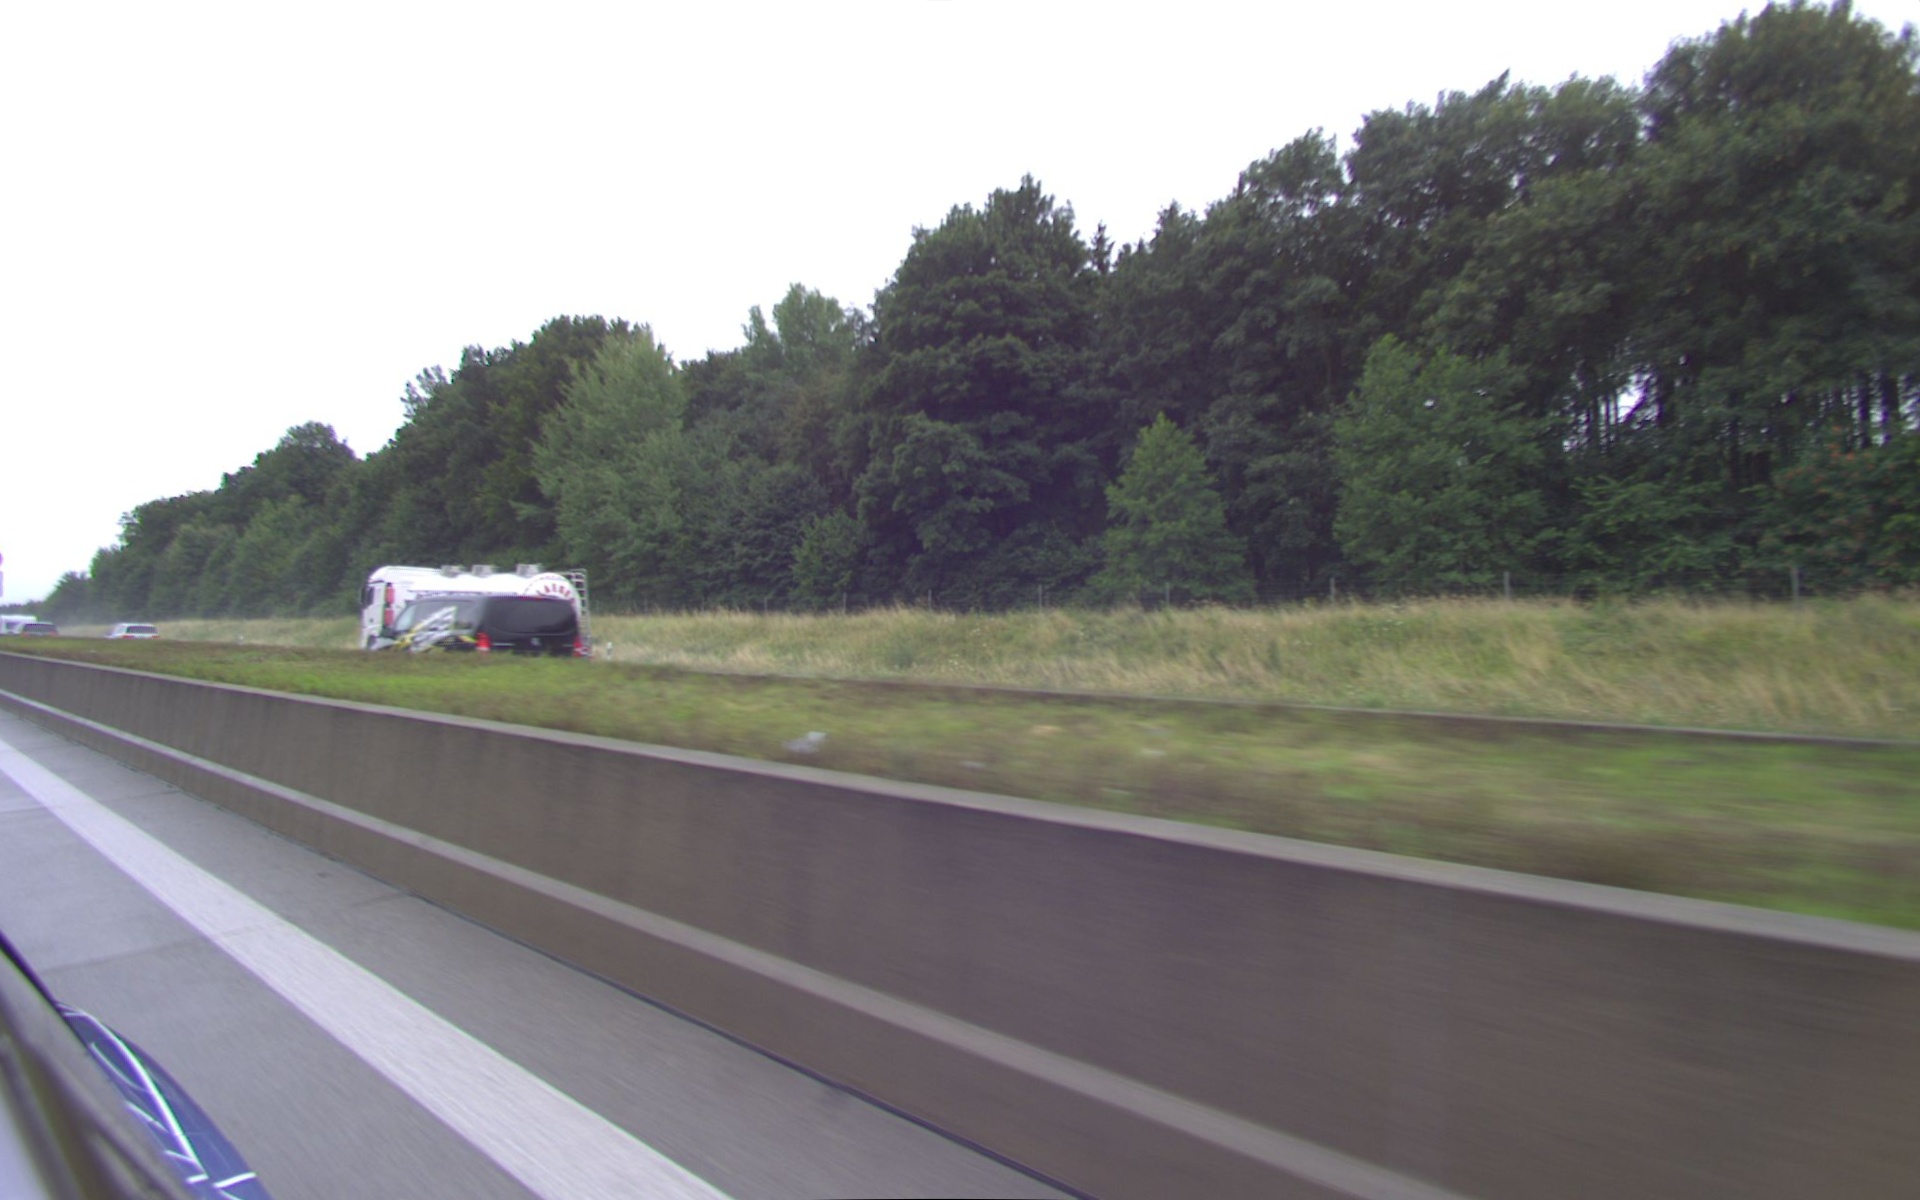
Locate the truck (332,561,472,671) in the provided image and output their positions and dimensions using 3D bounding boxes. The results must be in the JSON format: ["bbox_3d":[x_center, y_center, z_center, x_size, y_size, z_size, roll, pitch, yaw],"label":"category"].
[{"bbox_3d":[-21.725,0.648,39.265,6.431,3.905,2.637,-1,-2,41],"label":"truck"}]

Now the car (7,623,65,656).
[{"bbox_3d":[-50.413,2.149,55.211,4.557,1.700,1.765,-2,-3,41],"label":"car"}]

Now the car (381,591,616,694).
[{"bbox_3d":[-8.101,0.701,17.589,4.557,1.555,1.973,-1,-2,41],"label":"car"}]

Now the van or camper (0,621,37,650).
[{"bbox_3d":[-81.155,3.011,86.590,5.915,2.447,2.475,-1,-2,41],"label":"van or camper"}]

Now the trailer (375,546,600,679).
[{"bbox_3d":[-16.575,0.520,34.897,11.128,4.002,2.637,-2,-2,40],"label":"trailer"}]

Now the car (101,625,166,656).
[{"bbox_3d":[-45.634,2.205,55.865,4.557,1.639,1.973,-1,-2,41],"label":"car"}]
